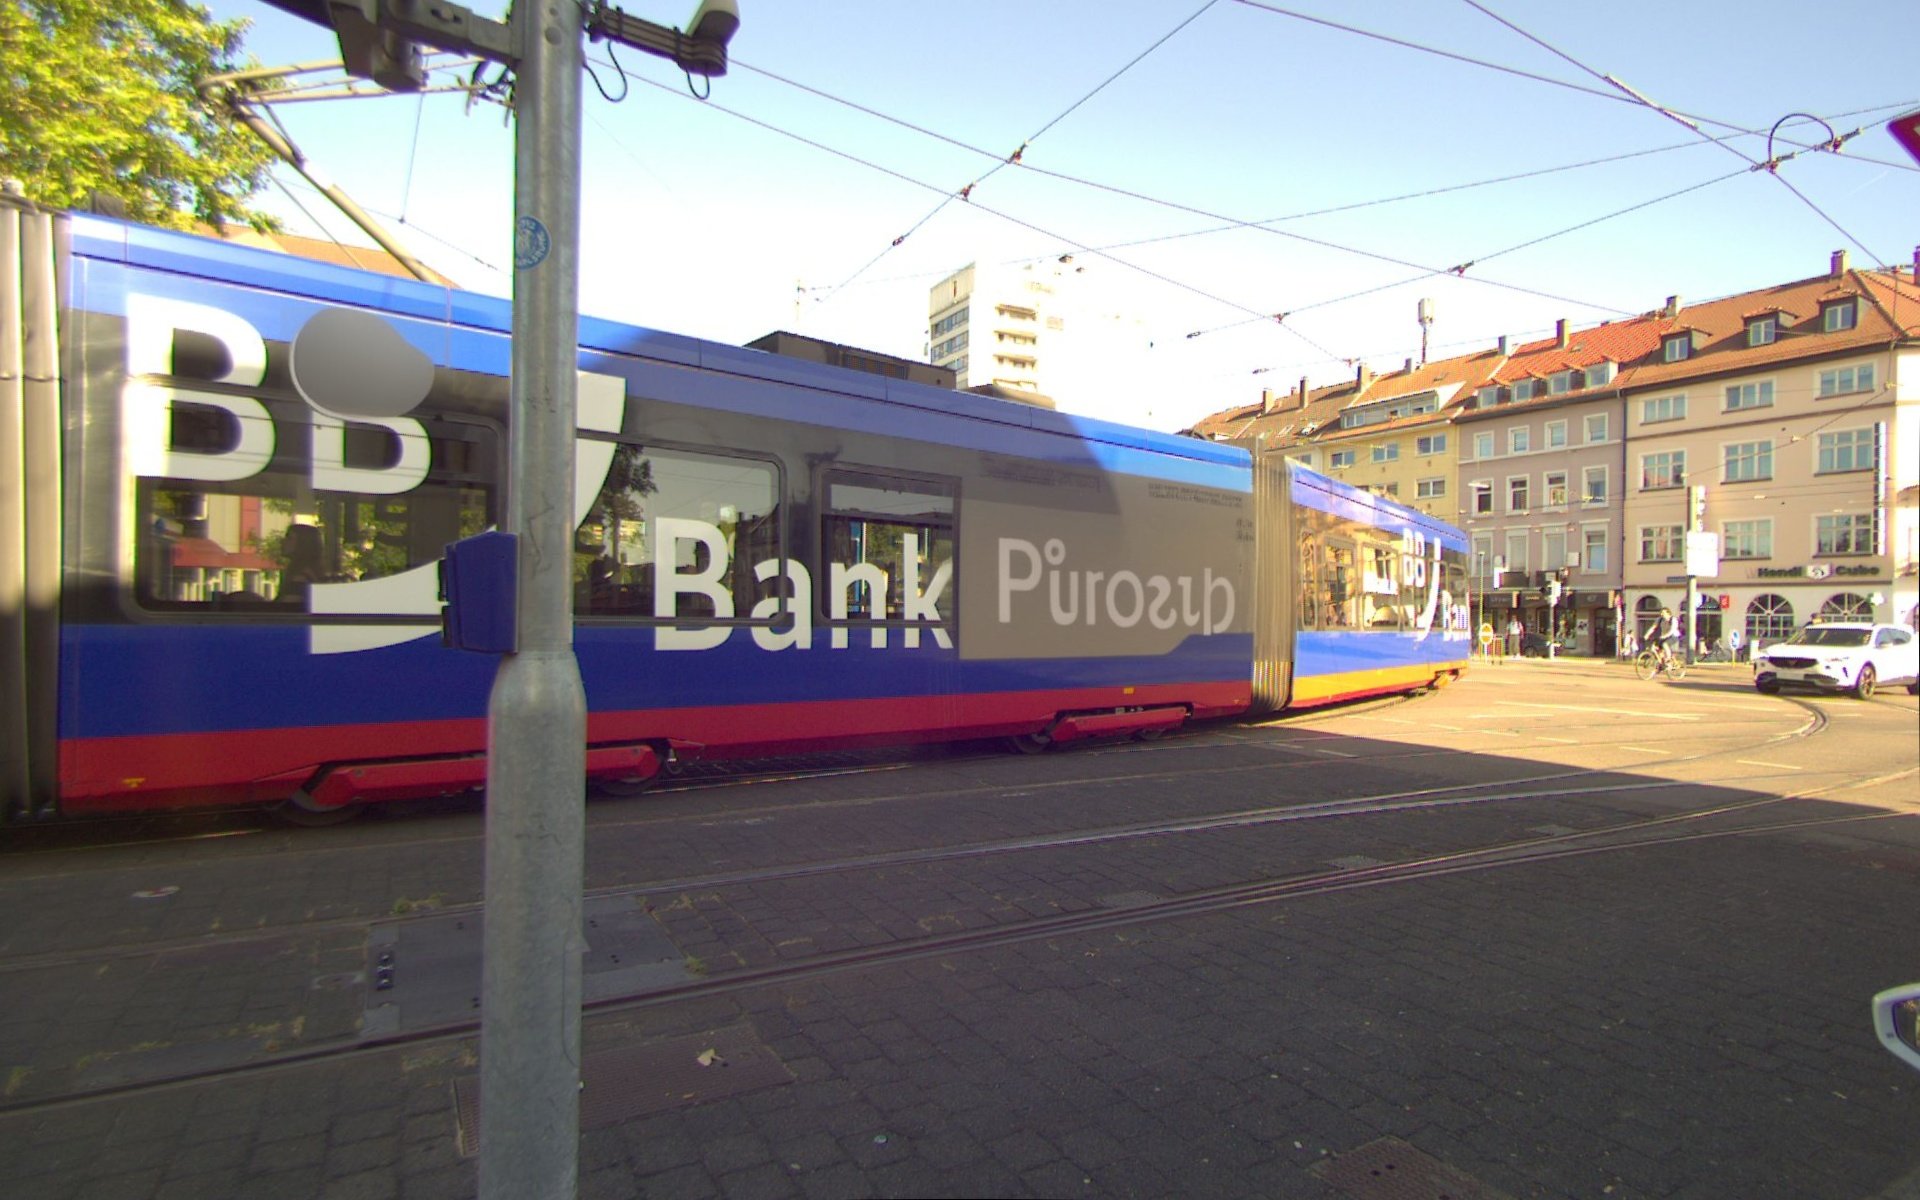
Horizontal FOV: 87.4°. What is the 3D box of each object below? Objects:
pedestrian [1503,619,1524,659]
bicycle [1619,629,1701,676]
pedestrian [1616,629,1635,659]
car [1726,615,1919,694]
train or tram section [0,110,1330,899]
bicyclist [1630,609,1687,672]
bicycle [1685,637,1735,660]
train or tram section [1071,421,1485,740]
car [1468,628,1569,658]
[{"bbox_3d":[23.132,1.607,41.961,0.715,1.648,0.669,0,-1,34],"label":"pedestrian"},{"bbox_3d":[17.994,1.344,25.823,2.020,1.181,0.485,1,-1,-13],"label":"bicycle"},{"bbox_3d":[34.996,2.289,52.800,0.689,1.544,0.653,1,-1,-37],"label":"pedestrian"},{"bbox_3d":[18.509,1.120,21.301,4.292,1.517,1.986,1,-1,-28],"label":"car"},{"bbox_3d":[-1.299,-0.315,9.261,12.398,3.661,3.030,2,-1,-40],"label":"train or tram section"},{"bbox_3d":[17.942,1.027,25.808,0.969,1.580,0.715,1,-1,-12],"label":"bicyclist"},{"bbox_3d":[37.594,2.405,50.364,0.578,1.081,1.929,1,-1,-36],"label":"bicycle"},{"bbox_3d":[6.289,-0.089,17.282,3.016,3.661,12.070,0,-1,37],"label":"train or tram section"},{"bbox_3d":[30.562,2.332,55.086,1.725,1.459,4.614,2,-1,-32],"label":"car"}]
